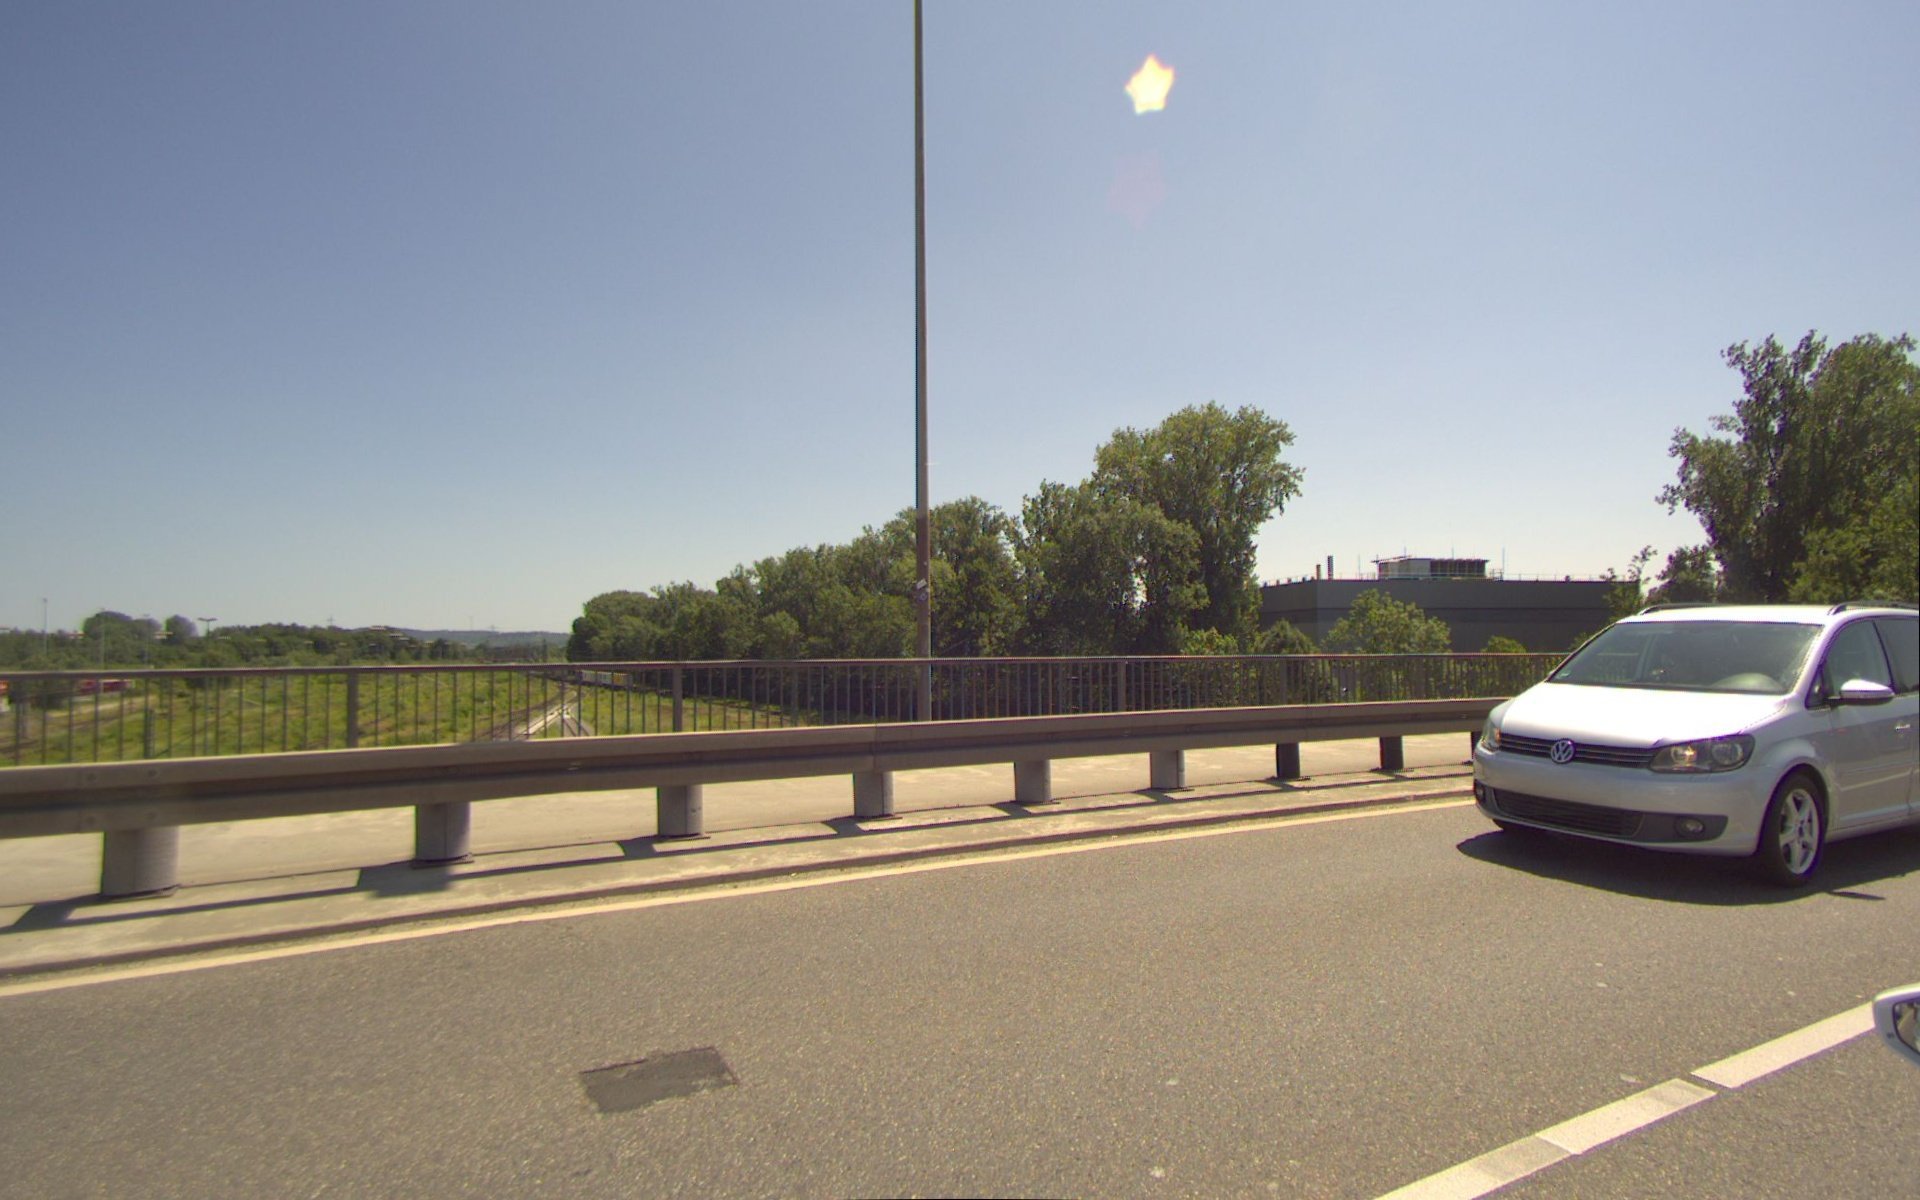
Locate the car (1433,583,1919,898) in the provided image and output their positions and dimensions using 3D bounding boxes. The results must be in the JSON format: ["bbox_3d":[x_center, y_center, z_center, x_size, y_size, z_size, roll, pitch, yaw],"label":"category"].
[{"bbox_3d":[5.375,0.793,6.933,4.066,1.636,1.709,1,-2,-27],"label":"car"}]
